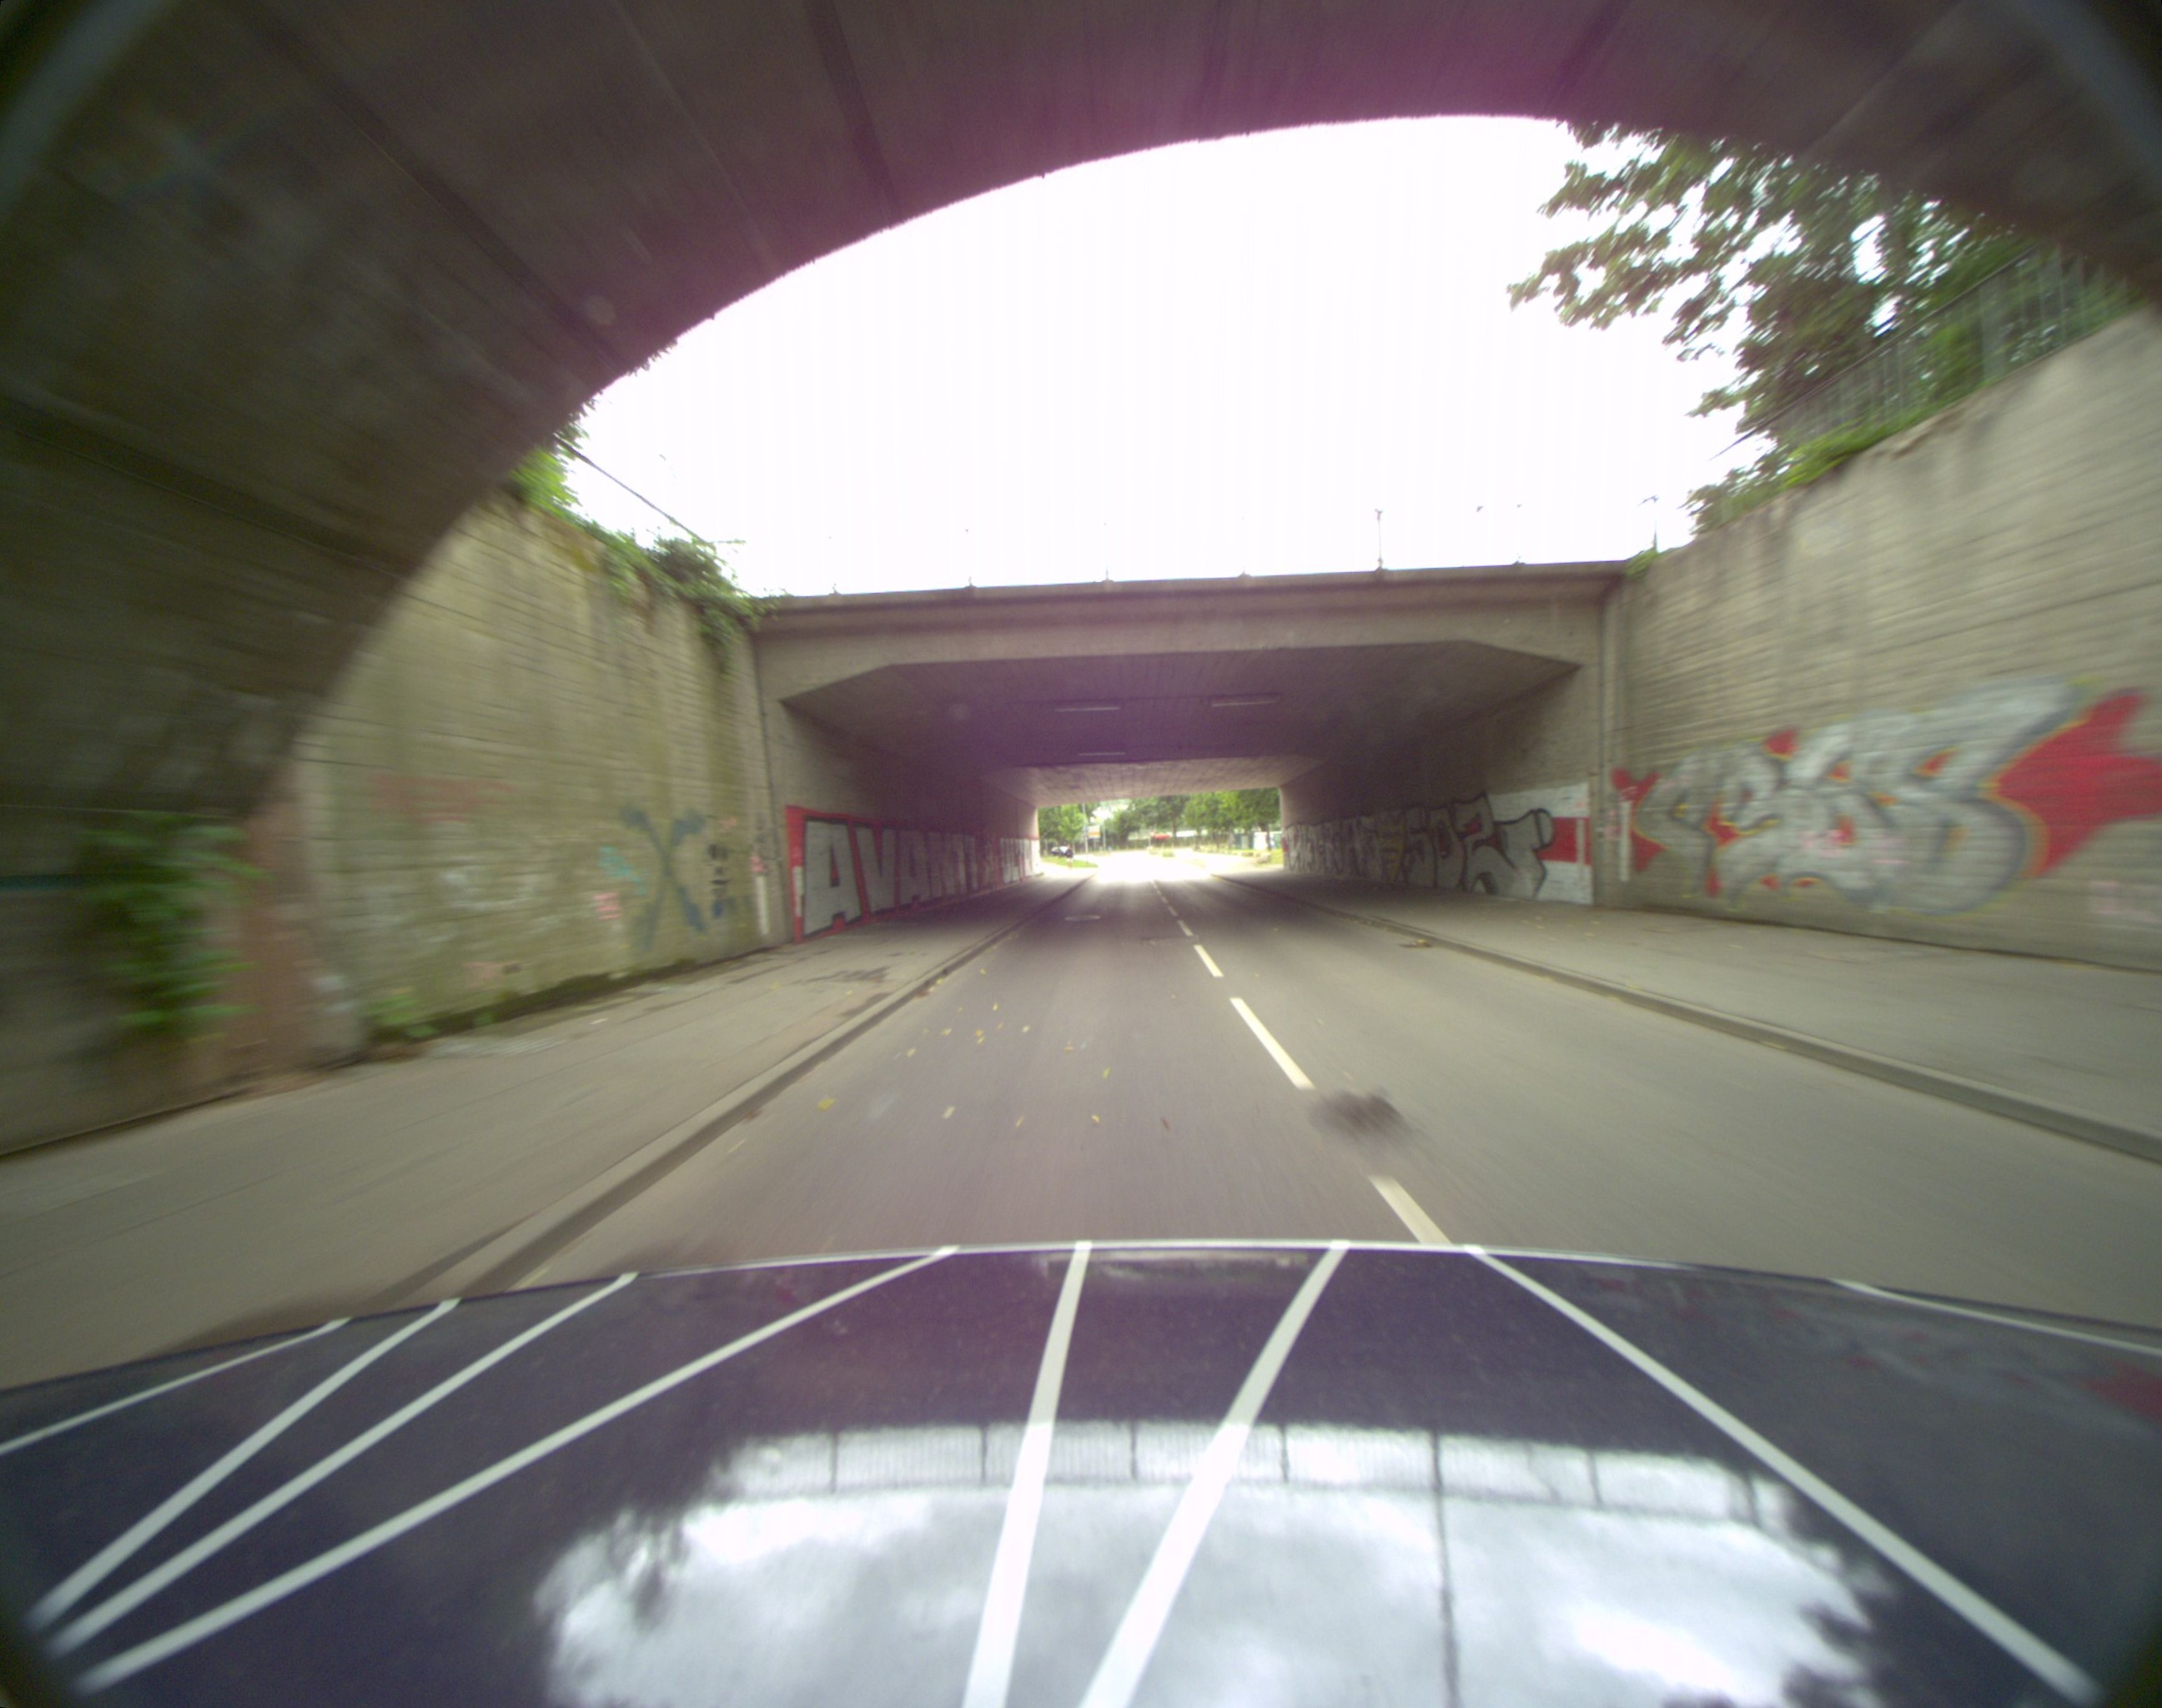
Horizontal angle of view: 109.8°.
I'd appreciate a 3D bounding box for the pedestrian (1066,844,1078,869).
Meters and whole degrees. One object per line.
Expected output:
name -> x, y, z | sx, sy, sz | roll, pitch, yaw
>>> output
pedestrian -> -0.674, 0.167, 56.471 | 0.822, 1.869, 1.180 | 0, 1, -4
